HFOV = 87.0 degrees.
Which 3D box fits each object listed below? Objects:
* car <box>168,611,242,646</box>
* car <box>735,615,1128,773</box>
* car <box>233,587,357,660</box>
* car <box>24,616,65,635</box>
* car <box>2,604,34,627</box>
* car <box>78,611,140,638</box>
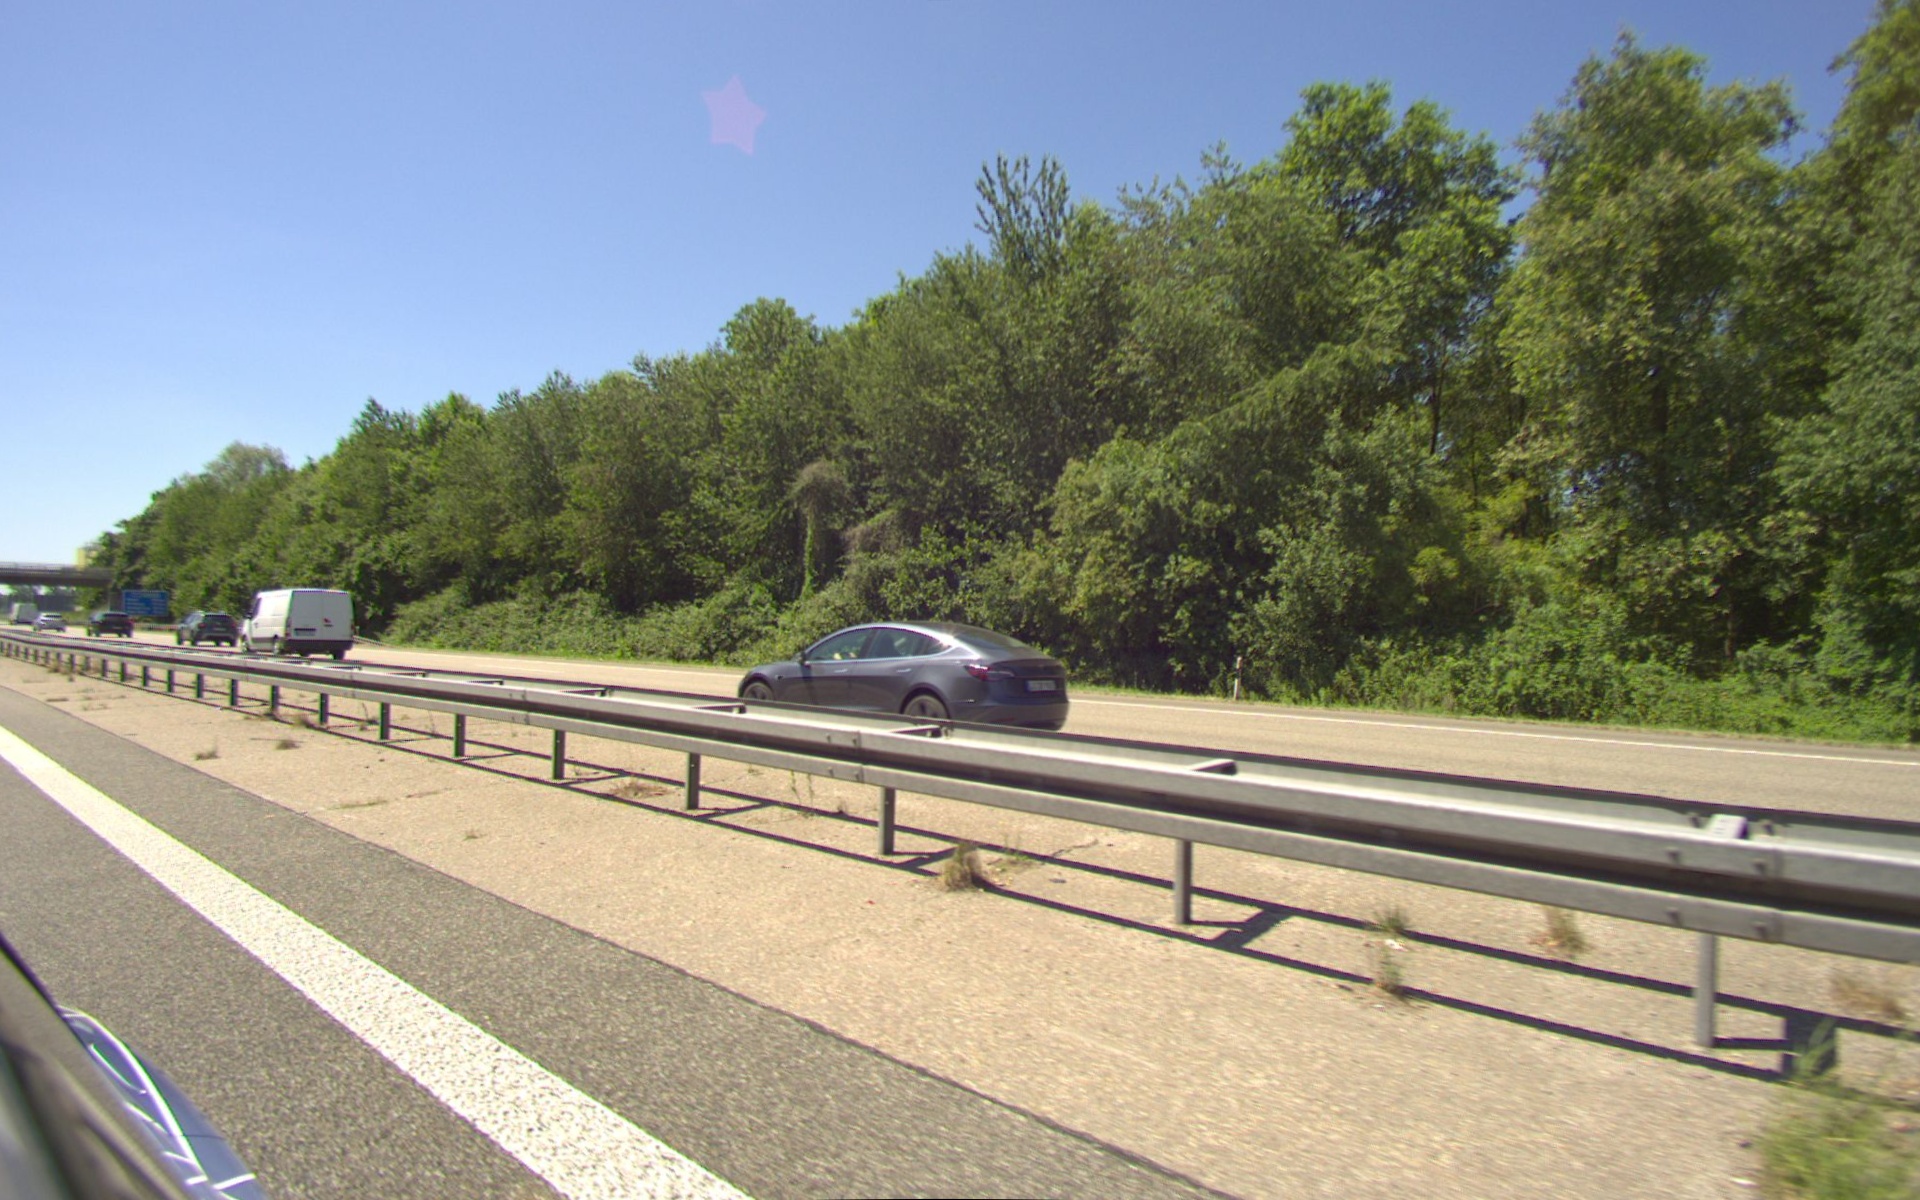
[{"bbox_3d":[-36.886,1.377,49.391,4.794,1.643,1.801,-1,-3,40],"label":"car"},{"bbox_3d":[-0.480,0.933,11.817,4.564,1.492,1.787,0,-2,40],"label":"car"},{"bbox_3d":[-22.558,0.793,34.237,5.273,2.306,2.066,-1,-2,40],"label":"car"},{"bbox_3d":[-73.154,2.027,80.830,4.819,1.535,1.801,-1,-2,40],"label":"car"},{"bbox_3d":[-110.753,1.847,118.927,6.224,2.572,2.065,-1,-3,41],"label":"car"},{"bbox_3d":[-55.349,1.589,65.788,4.925,1.663,2.251,0,-3,41],"label":"car"}]
